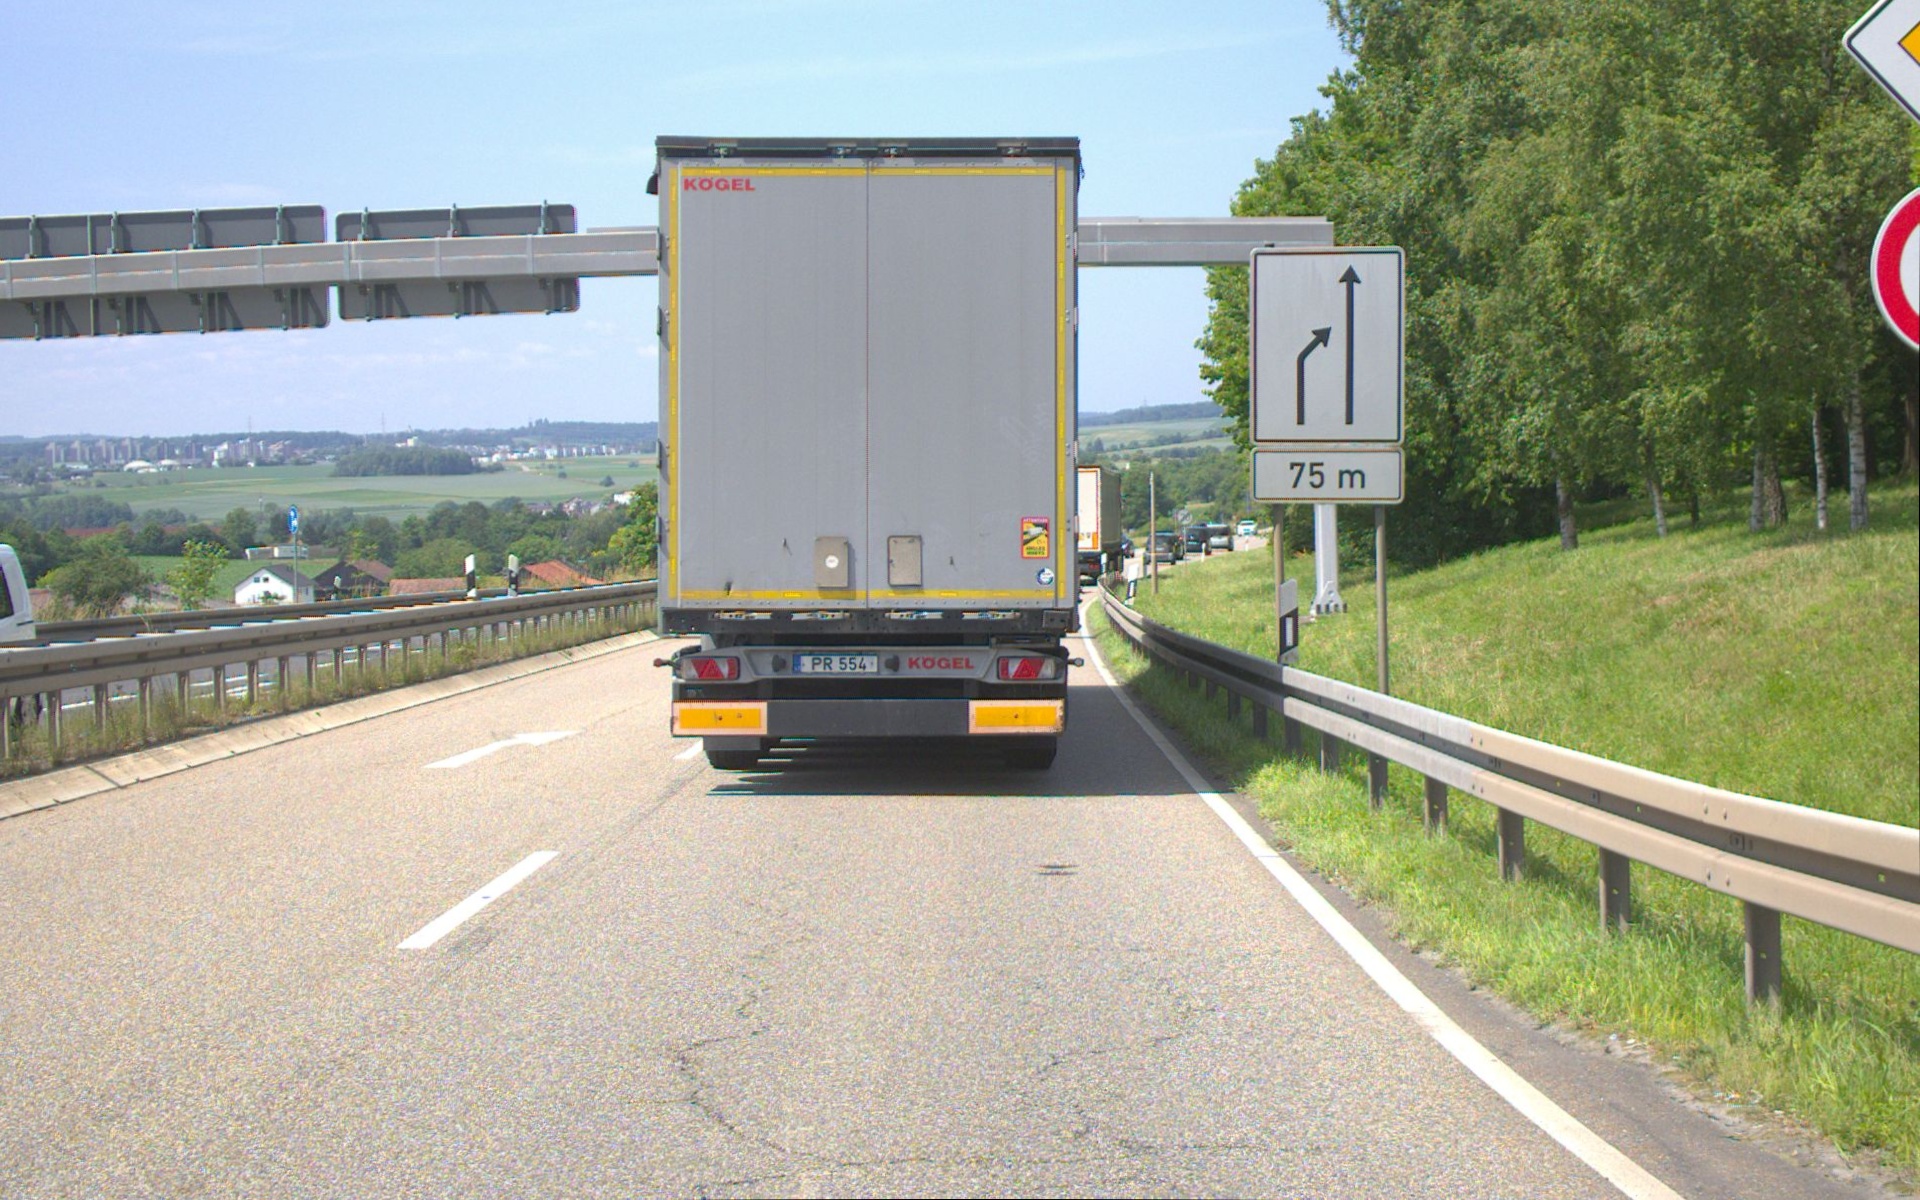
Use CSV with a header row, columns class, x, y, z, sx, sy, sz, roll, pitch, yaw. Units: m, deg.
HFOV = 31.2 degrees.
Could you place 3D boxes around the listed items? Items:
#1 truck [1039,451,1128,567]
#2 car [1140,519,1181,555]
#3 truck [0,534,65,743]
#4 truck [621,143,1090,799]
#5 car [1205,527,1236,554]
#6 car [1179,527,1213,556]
class,x,y,z,sx,sy,sz,roll,pitch,yaw
truck,4.332,-3.050,118.721,2.656,3.752,10.160,0,0,4
car,9.845,-3.087,168.848,1.786,1.682,4.000,0,0,1
truck,-8.945,0.370,28.199,1.849,1.743,4.537,-3,0,1
truck,-0.580,-0.873,26.209,2.799,3.916,11.342,0,1,0
car,16.978,-3.897,224.349,1.786,1.682,4.000,0,0,1
car,14.017,-3.491,204.683,1.786,1.682,4.000,0,0,1
